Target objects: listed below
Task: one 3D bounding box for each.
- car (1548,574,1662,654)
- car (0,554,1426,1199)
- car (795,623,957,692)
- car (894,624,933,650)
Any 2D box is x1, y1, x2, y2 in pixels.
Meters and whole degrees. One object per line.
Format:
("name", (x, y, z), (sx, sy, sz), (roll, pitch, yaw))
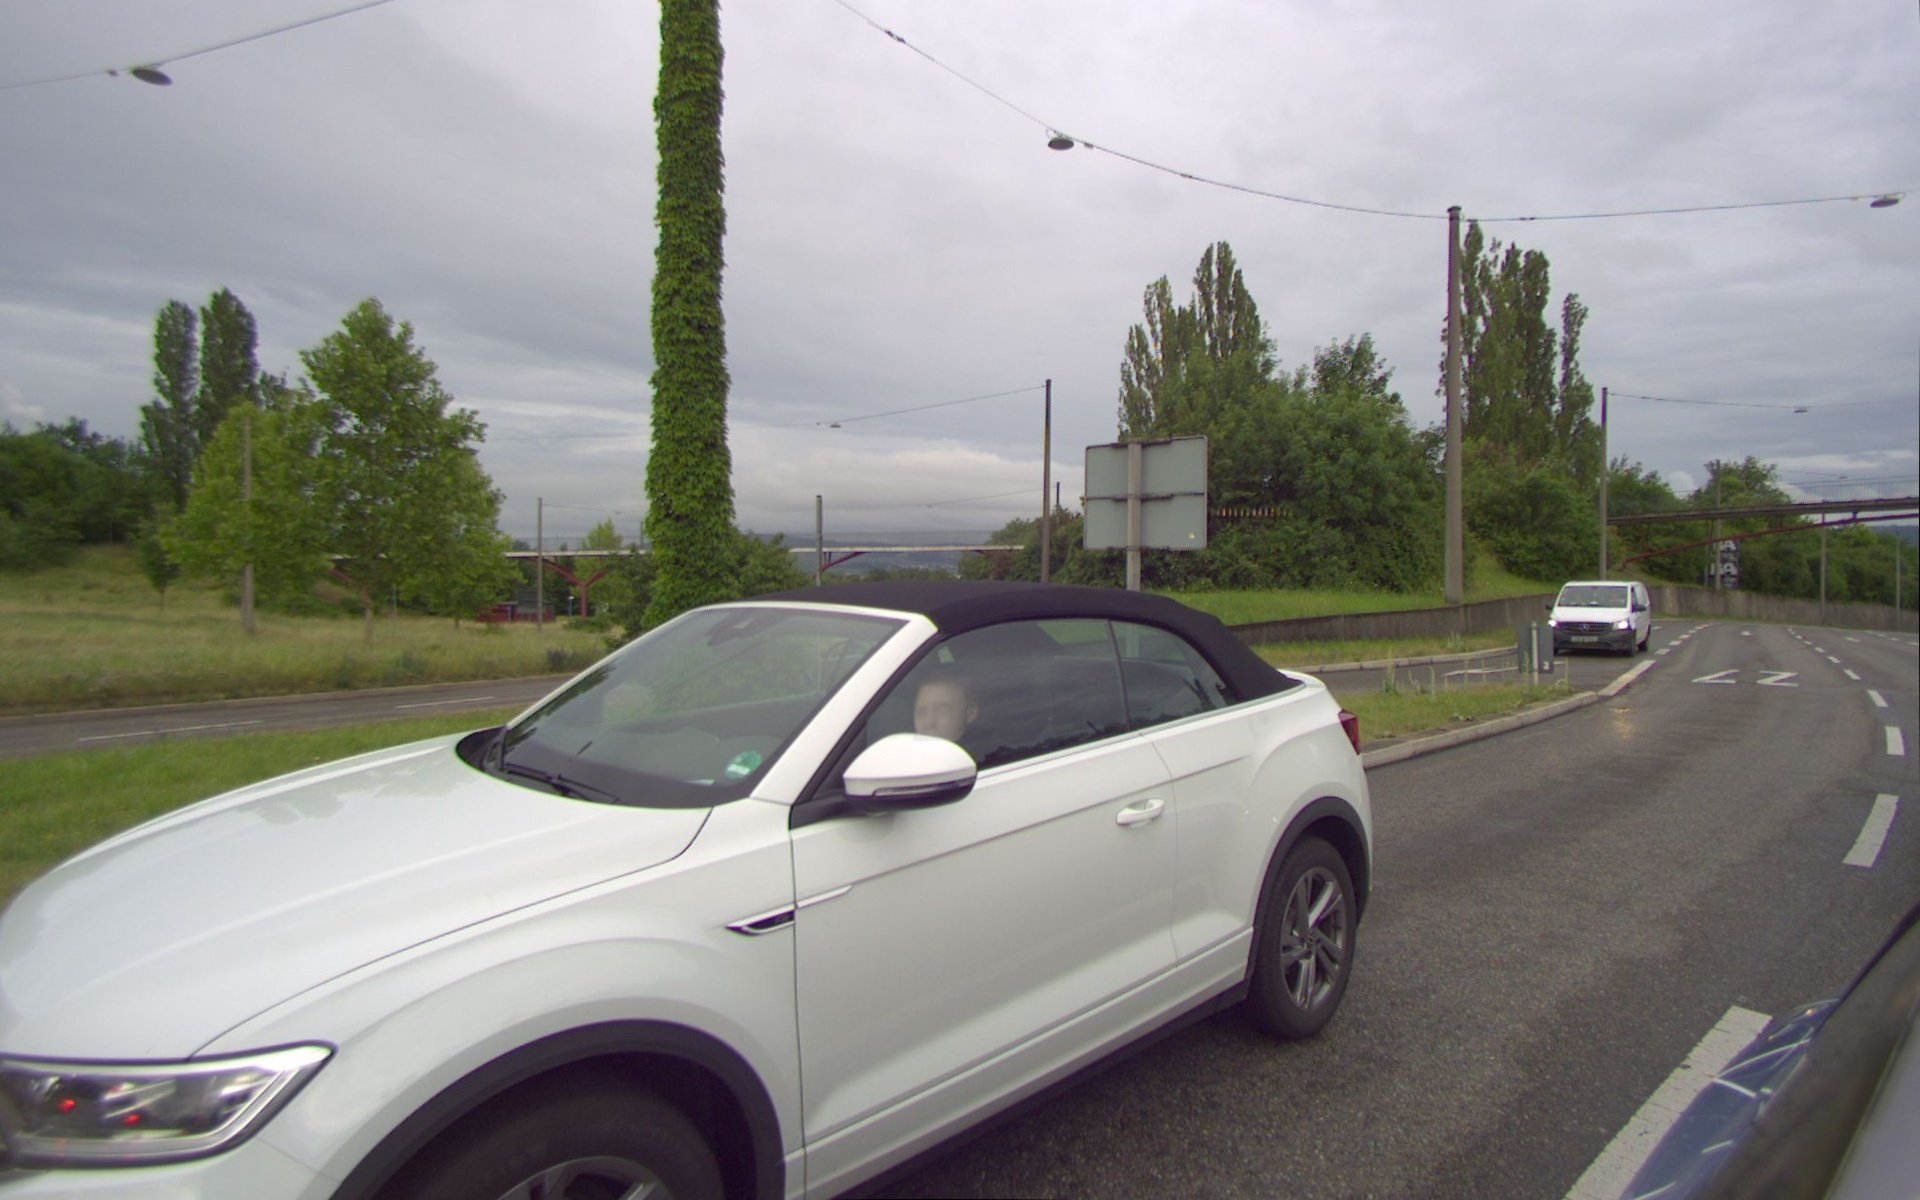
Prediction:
("car", (16.791, 0.274, 26.227), (1.990, 1.871, 4.756), (0, 1, 39))
("car", (-0.283, 0.701, 3.060), (4.160, 1.572, 1.714), (-1, 1, -44))
("car", (-2.037, 1.274, 23.556), (1.656, 1.438, 4.074), (1, -1, -41))
("car", (-3.043, 2.420, 67.124), (1.673, 1.494, 4.280), (0, 1, 10))
